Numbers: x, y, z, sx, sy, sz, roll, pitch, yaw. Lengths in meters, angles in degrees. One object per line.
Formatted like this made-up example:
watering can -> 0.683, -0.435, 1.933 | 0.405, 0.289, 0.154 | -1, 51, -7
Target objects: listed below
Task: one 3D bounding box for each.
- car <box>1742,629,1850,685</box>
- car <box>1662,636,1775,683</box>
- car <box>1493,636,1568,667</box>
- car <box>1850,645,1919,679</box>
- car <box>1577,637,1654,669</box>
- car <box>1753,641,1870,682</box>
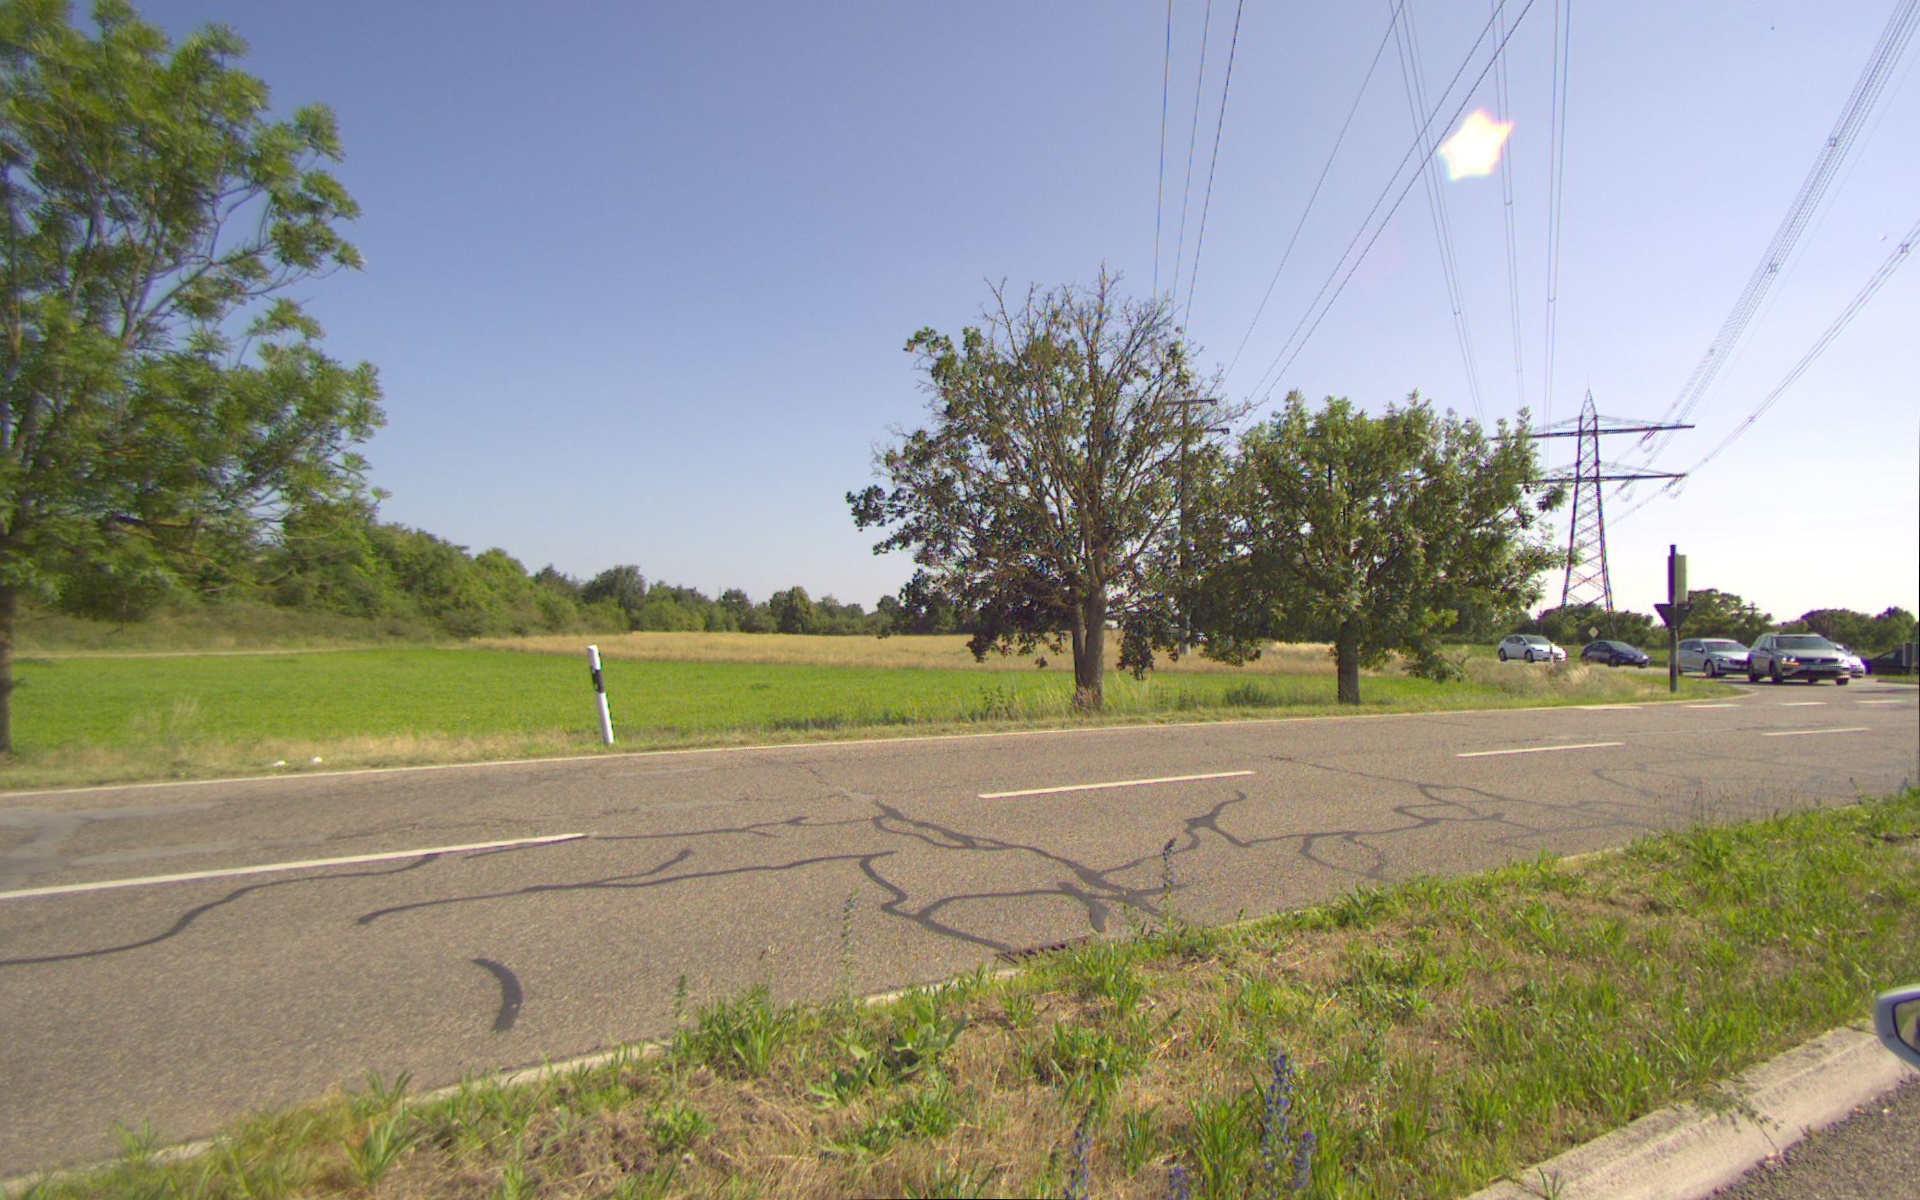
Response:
car -> 26.739, 1.780, 32.269 | 1.786, 1.673, 3.996 | 0, -2, 26
car -> 28.911, 2.227, 38.432 | 1.783, 1.673, 4.003 | 1, -2, 9
car -> 33.859, 3.035, 59.750 | 1.784, 1.673, 4.762 | 1, -1, 0
car -> 42.850, 2.785, 45.332 | 1.683, 1.435, 4.103 | 1, -1, -1
car -> 37.194, 2.986, 57.091 | 1.784, 1.673, 4.001 | 1, -1, 0
car -> 37.428, 2.671, 44.277 | 1.784, 1.673, 4.001 | 1, -1, 0
